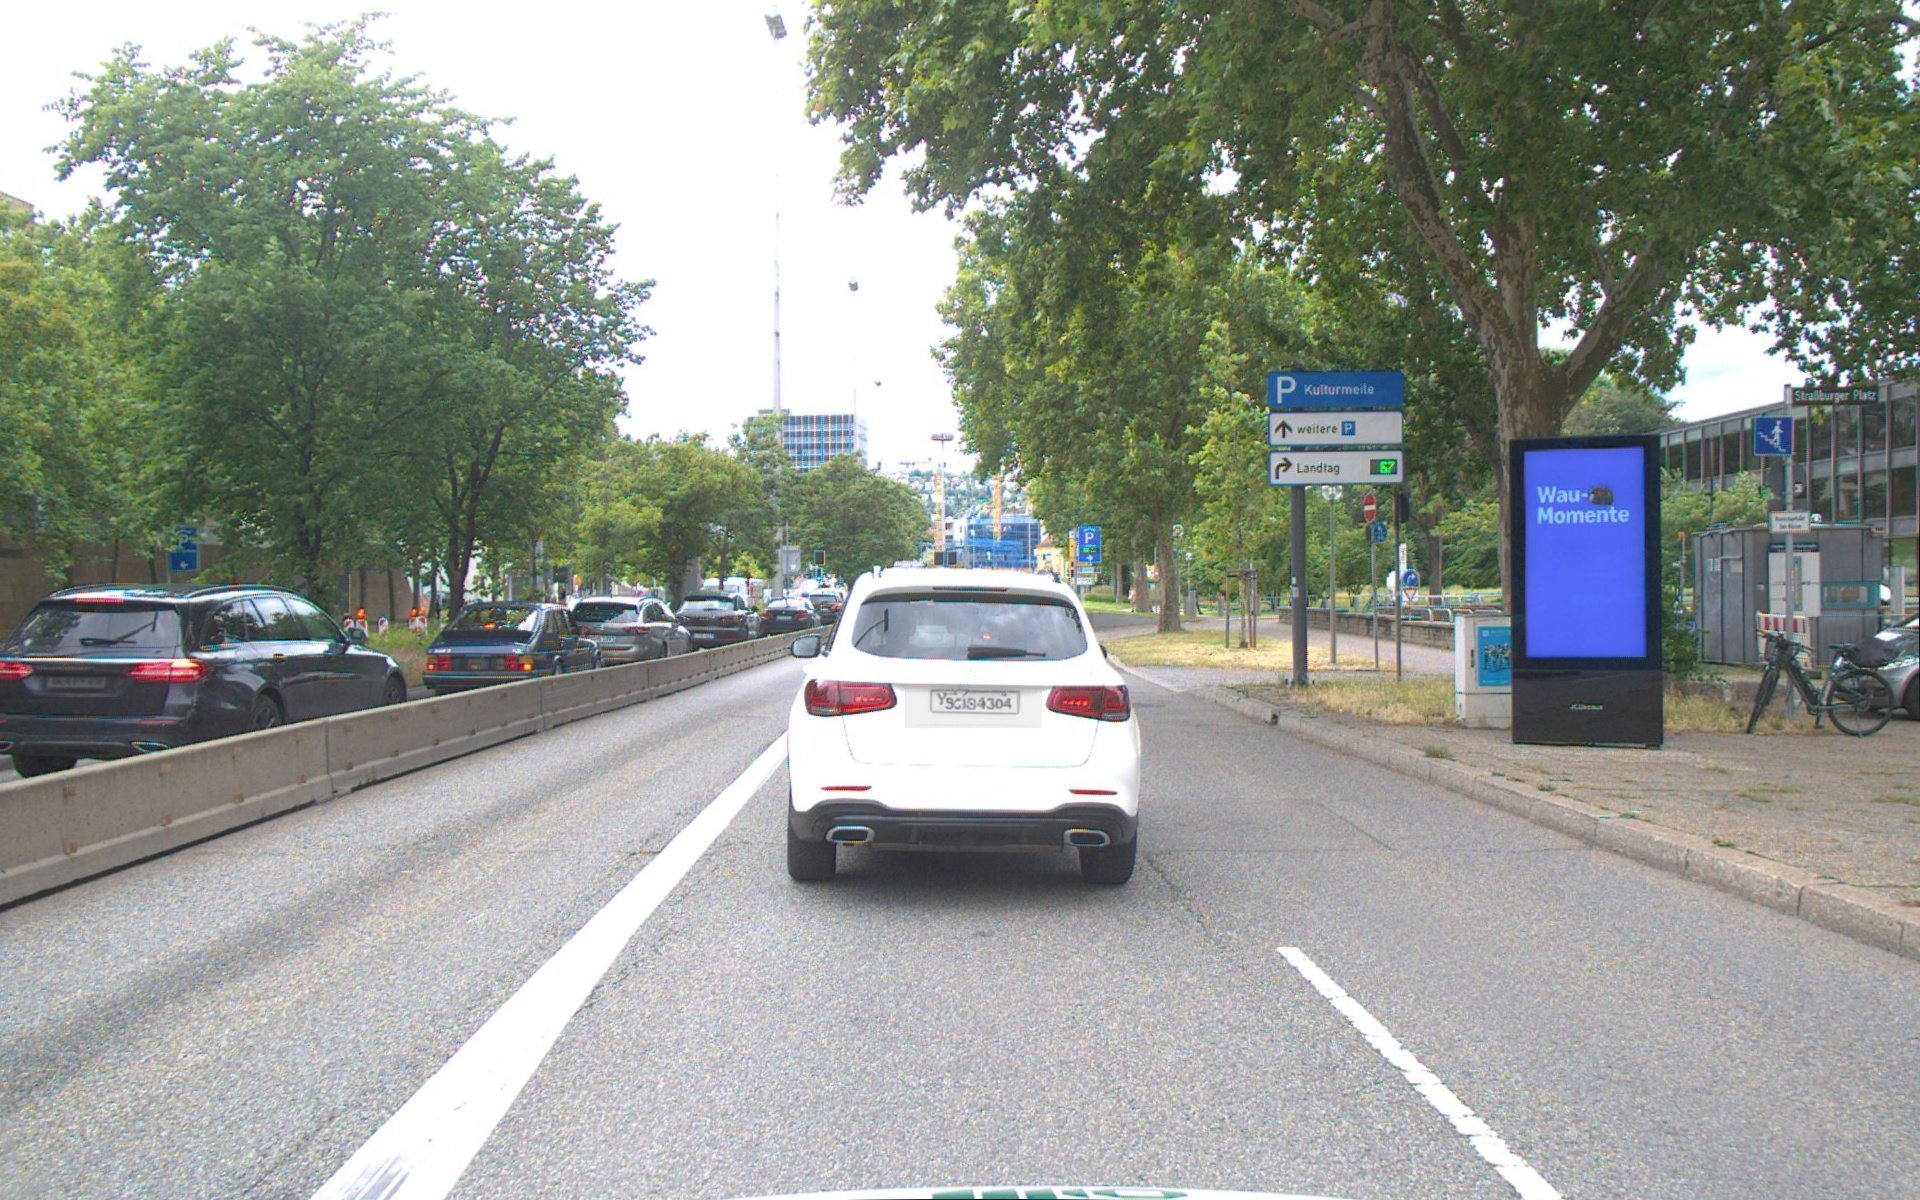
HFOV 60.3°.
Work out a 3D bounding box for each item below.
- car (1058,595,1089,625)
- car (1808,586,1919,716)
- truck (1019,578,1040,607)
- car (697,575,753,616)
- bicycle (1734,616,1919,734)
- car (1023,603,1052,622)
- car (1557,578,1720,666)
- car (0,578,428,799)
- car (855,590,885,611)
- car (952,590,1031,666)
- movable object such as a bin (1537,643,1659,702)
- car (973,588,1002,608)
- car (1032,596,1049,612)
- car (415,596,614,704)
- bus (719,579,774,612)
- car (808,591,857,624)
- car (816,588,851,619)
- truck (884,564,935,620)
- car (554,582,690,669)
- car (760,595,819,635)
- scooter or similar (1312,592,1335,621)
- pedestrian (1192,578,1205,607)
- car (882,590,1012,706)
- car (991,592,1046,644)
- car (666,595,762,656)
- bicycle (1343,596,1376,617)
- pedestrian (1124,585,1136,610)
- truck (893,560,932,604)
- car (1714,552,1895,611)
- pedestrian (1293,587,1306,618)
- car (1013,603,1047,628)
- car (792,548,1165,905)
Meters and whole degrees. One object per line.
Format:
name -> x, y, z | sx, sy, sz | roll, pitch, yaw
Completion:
car -> 7.832, 0.672, 114.515 | 1.952, 2.049, 4.001 | 1, 0, 1
car -> 13.118, 0.628, 21.093 | 3.757, 1.596, 1.679 | 0, 0, 0
truck -> 10.500, -1.109, 250.640 | 2.818, 4.175, 6.638 | 1, 0, 1
car -> -12.136, -0.234, 85.752 | 2.072, 2.004, 5.578 | 0, 0, 0
bicycle -> 9.356, 0.796, 17.859 | 1.748, 1.242, 0.492 | 0, 0, 3
car -> 5.484, 0.888, 117.578 | 1.907, 1.343, 4.017 | 1, 0, 1
car -> 13.634, 0.395, 33.491 | 1.724, 1.579, 4.028 | 0, 2, 1
car -> -6.105, 0.612, 13.810 | 1.779, 1.525, 4.768 | 0, 0, 0
car -> -5.759, 0.032, 106.015 | 1.625, 1.343, 3.548 | 1, 0, 1
car -> 0.695, 0.625, 38.538 | 1.626, 1.668, 3.545 | 1, 0, -2
movable object such as a bin -> 7.897, 0.890, 20.523 | 1.271, 0.663, 0.729 | 2, -1, 9
car -> 1.917, -0.116, 114.647 | 1.907, 1.343, 4.017 | 1, 0, 1
car -> 8.952, 0.425, 184.138 | 1.722, 1.698, 4.168 | 0, 0, 1
car -> -6.262, 0.647, 23.761 | 1.644, 1.391, 4.543 | 0, 0, 0
bus -> -22.095, -0.482, 172.170 | 3.591, 3.261, 14.275 | 0, 0, 1
car -> -5.449, 0.329, 71.128 | 1.624, 1.343, 3.549 | 1, 0, 3
car -> -6.315, 0.195, 82.834 | 1.626, 1.540, 3.545 | 0, 0, -2
truck -> -2.720, -0.441, 90.885 | 2.567, 2.911, 7.077 | 1, 0, -1
car -> -6.058, 0.449, 30.034 | 1.627, 1.461, 3.960 | 1, -1, 0
car -> -5.907, 0.514, 57.705 | 1.625, 1.343, 3.547 | 1, 0, 1
scooter or similar -> 16.570, 0.299, 75.484 | 0.622, 1.267, 2.226 | 2, -1, 3
pedestrian -> 14.089, -0.439, 97.644 | 0.743, 1.755, 0.699 | 0, 0, 8
car -> -0.268, 0.697, 25.615 | 1.760, 1.636, 3.751 | 1, 0, -4
car -> 2.049, 0.603, 58.695 | 1.788, 1.783, 4.000 | 0, 0, 0
car -> -6.152, 0.605, 41.724 | 1.739, 1.445, 4.001 | 0, 0, 1
bicycle -> 19.724, 0.308, 81.678 | 0.934, 0.992, 2.787 | 2, -1, 0
pedestrian -> 13.521, -0.203, 131.454 | 0.746, 2.049, 0.696 | 0, 0, 36
truck -> -3.494, -1.282, 122.377 | 2.637, 3.044, 5.637 | 2, -1, -1
car -> 33.516, -0.734, 65.786 | 5.980, 2.300, 2.402 | 0, 0, 2
pedestrian -> 18.489, 0.133, 90.079 | 0.625, 1.639, 0.663 | 0, 0, 8
car -> 4.064, 0.891, 97.132 | 1.907, 1.453, 4.017 | 1, 0, 1
car -> -0.089, 0.574, 10.002 | 1.753, 1.653, 4.433 | 0, 0, -5
